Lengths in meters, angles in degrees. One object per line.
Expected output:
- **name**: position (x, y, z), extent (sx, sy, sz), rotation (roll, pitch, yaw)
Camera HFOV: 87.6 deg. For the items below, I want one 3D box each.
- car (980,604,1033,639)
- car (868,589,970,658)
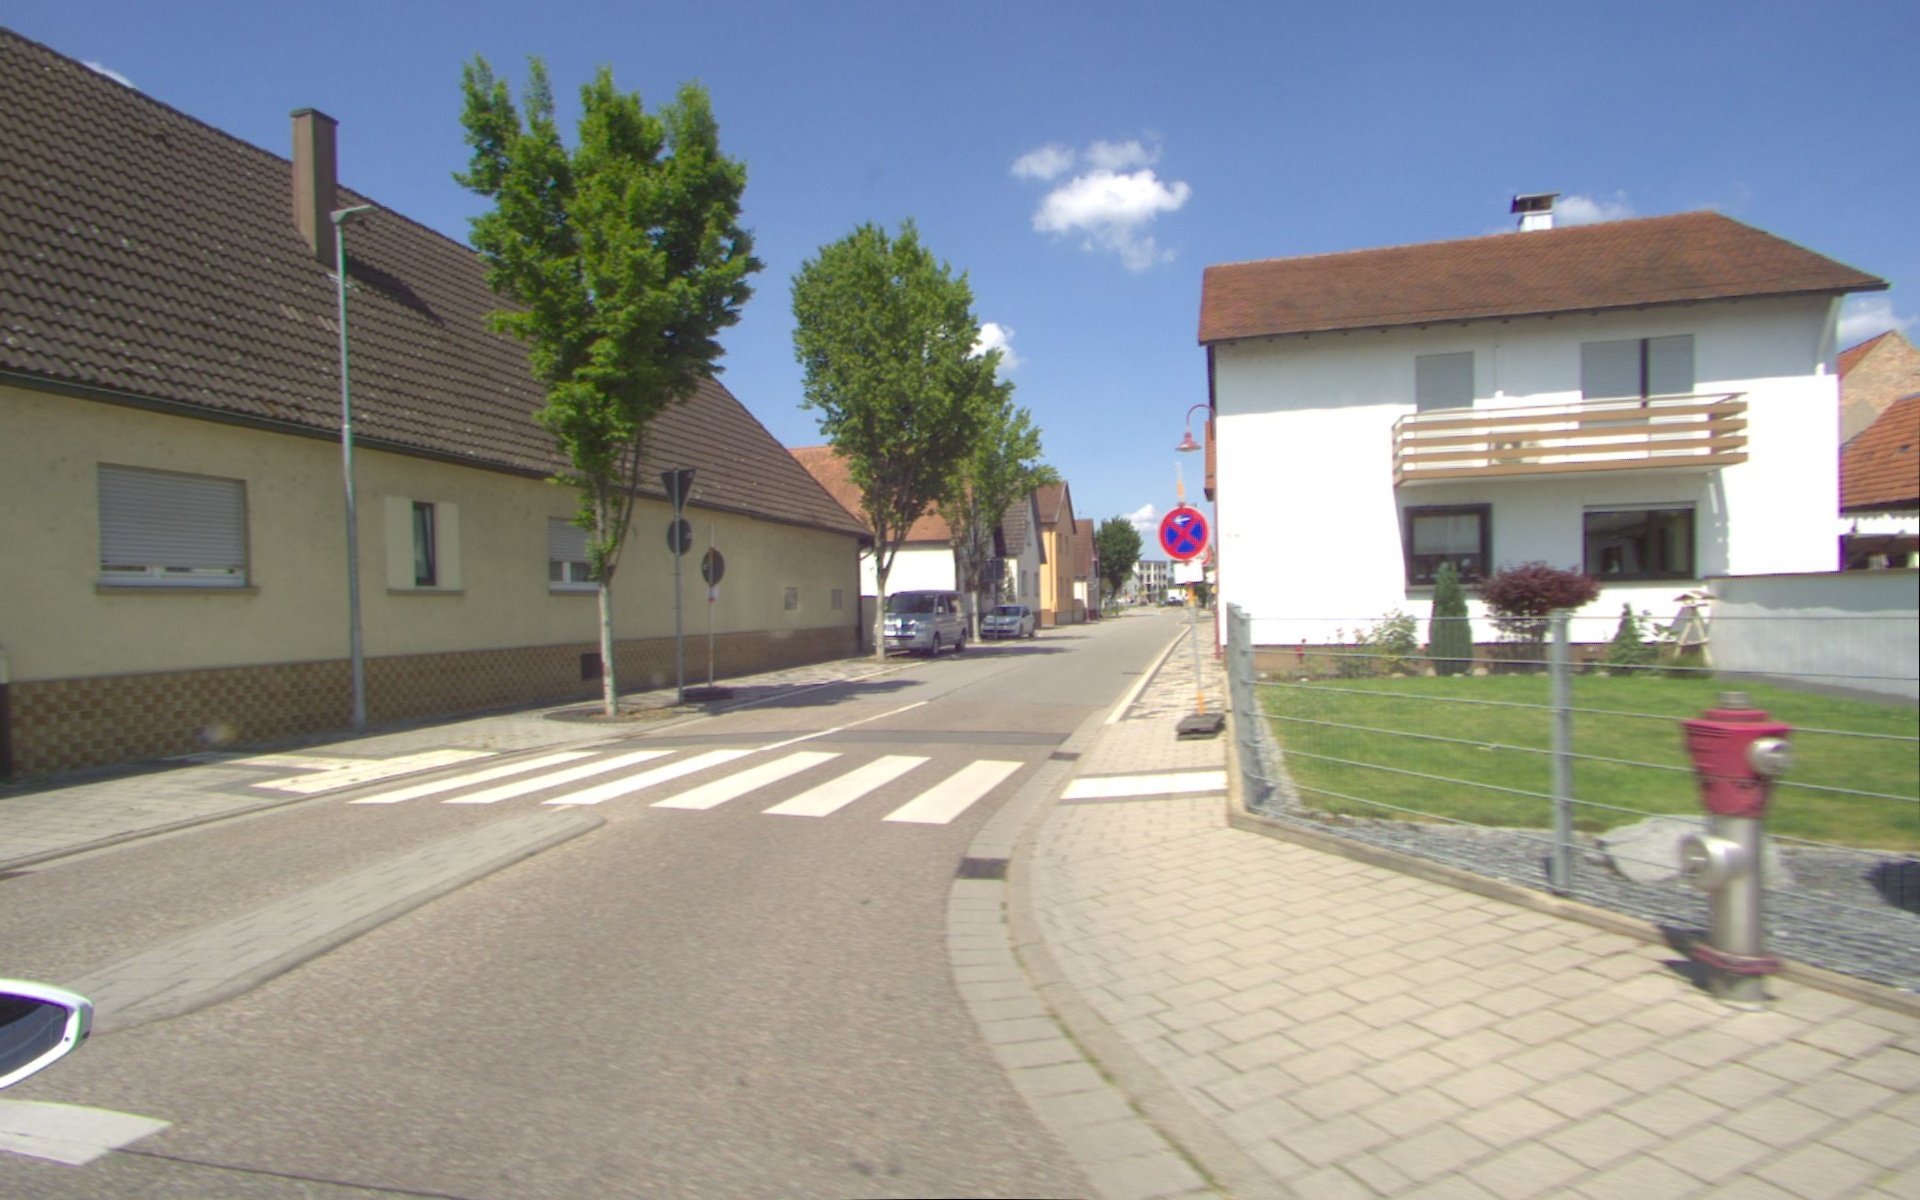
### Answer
- **car**: position (2.037, 0.895, 43.275), extent (1.655, 1.400, 3.556), rotation (0, 0, 14)
- **car**: position (-1.161, 0.665, 30.626), extent (1.963, 1.964, 4.474), rotation (0, 0, 14)
